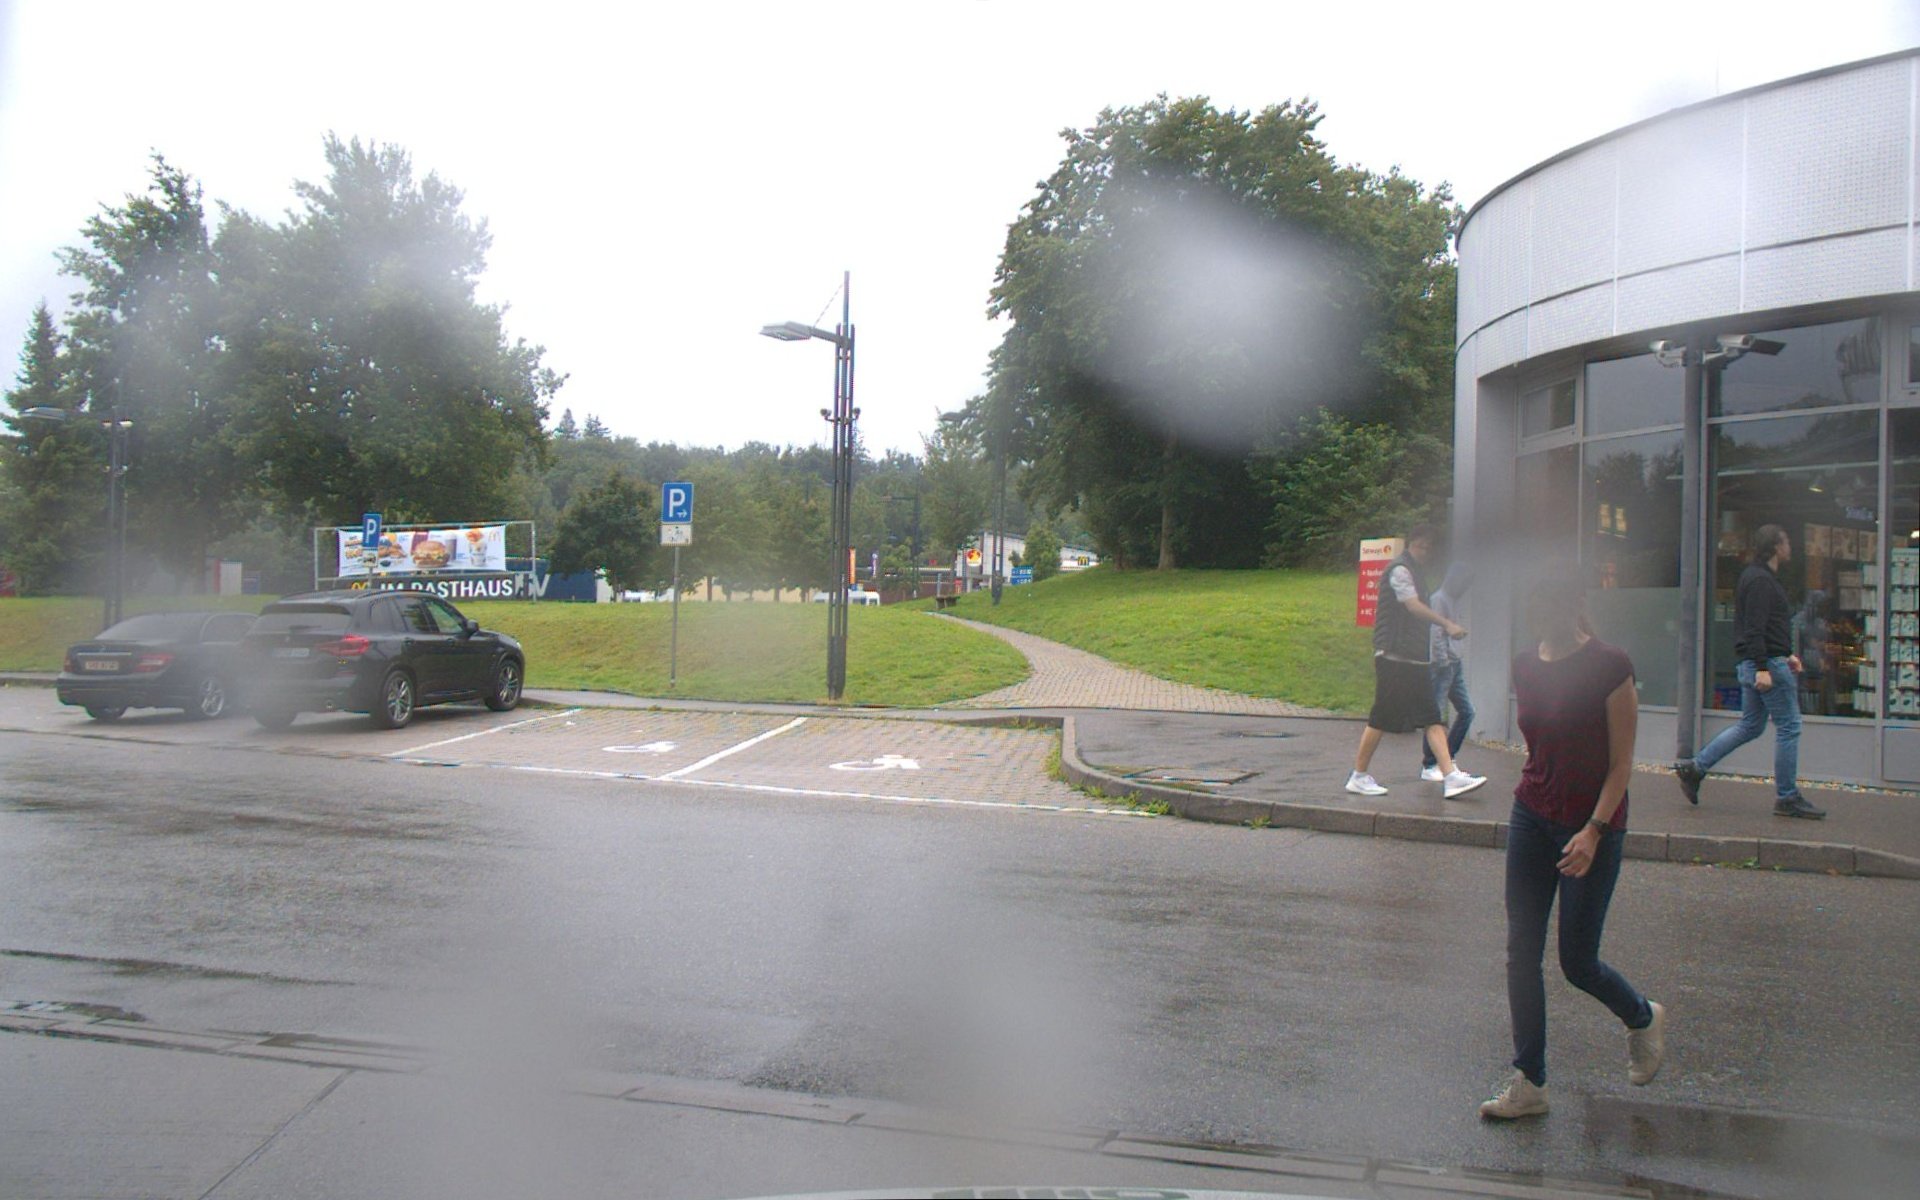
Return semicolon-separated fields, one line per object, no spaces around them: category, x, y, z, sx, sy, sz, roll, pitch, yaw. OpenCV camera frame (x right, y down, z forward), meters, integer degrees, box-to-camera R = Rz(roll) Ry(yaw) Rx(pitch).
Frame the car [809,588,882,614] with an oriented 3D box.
car;-9.221;0.063;133.490;5.310;2.049;2.456;1;0;19

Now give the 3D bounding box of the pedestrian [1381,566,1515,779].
pedestrian;3.758;0.532;12.731;0.872;1.577;0.659;0;0;29

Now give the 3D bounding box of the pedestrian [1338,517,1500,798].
pedestrian;3.239;0.384;11.657;0.954;1.880;0.772;0;0;28

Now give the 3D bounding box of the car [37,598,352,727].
car;-10.361;0.780;22.764;1.844;1.592;4.189;0;0;11

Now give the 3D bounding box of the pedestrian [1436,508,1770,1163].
pedestrian;1.966;0.634;5.028;0.780;1.765;0.837;0;0;34

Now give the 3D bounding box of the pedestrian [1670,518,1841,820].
pedestrian;5.283;0.430;10.980;0.979;1.897;0.798;0;0;28

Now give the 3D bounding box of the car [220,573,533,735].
car;-7.335;0.608;21.325;1.844;1.860;4.417;0;0;11
